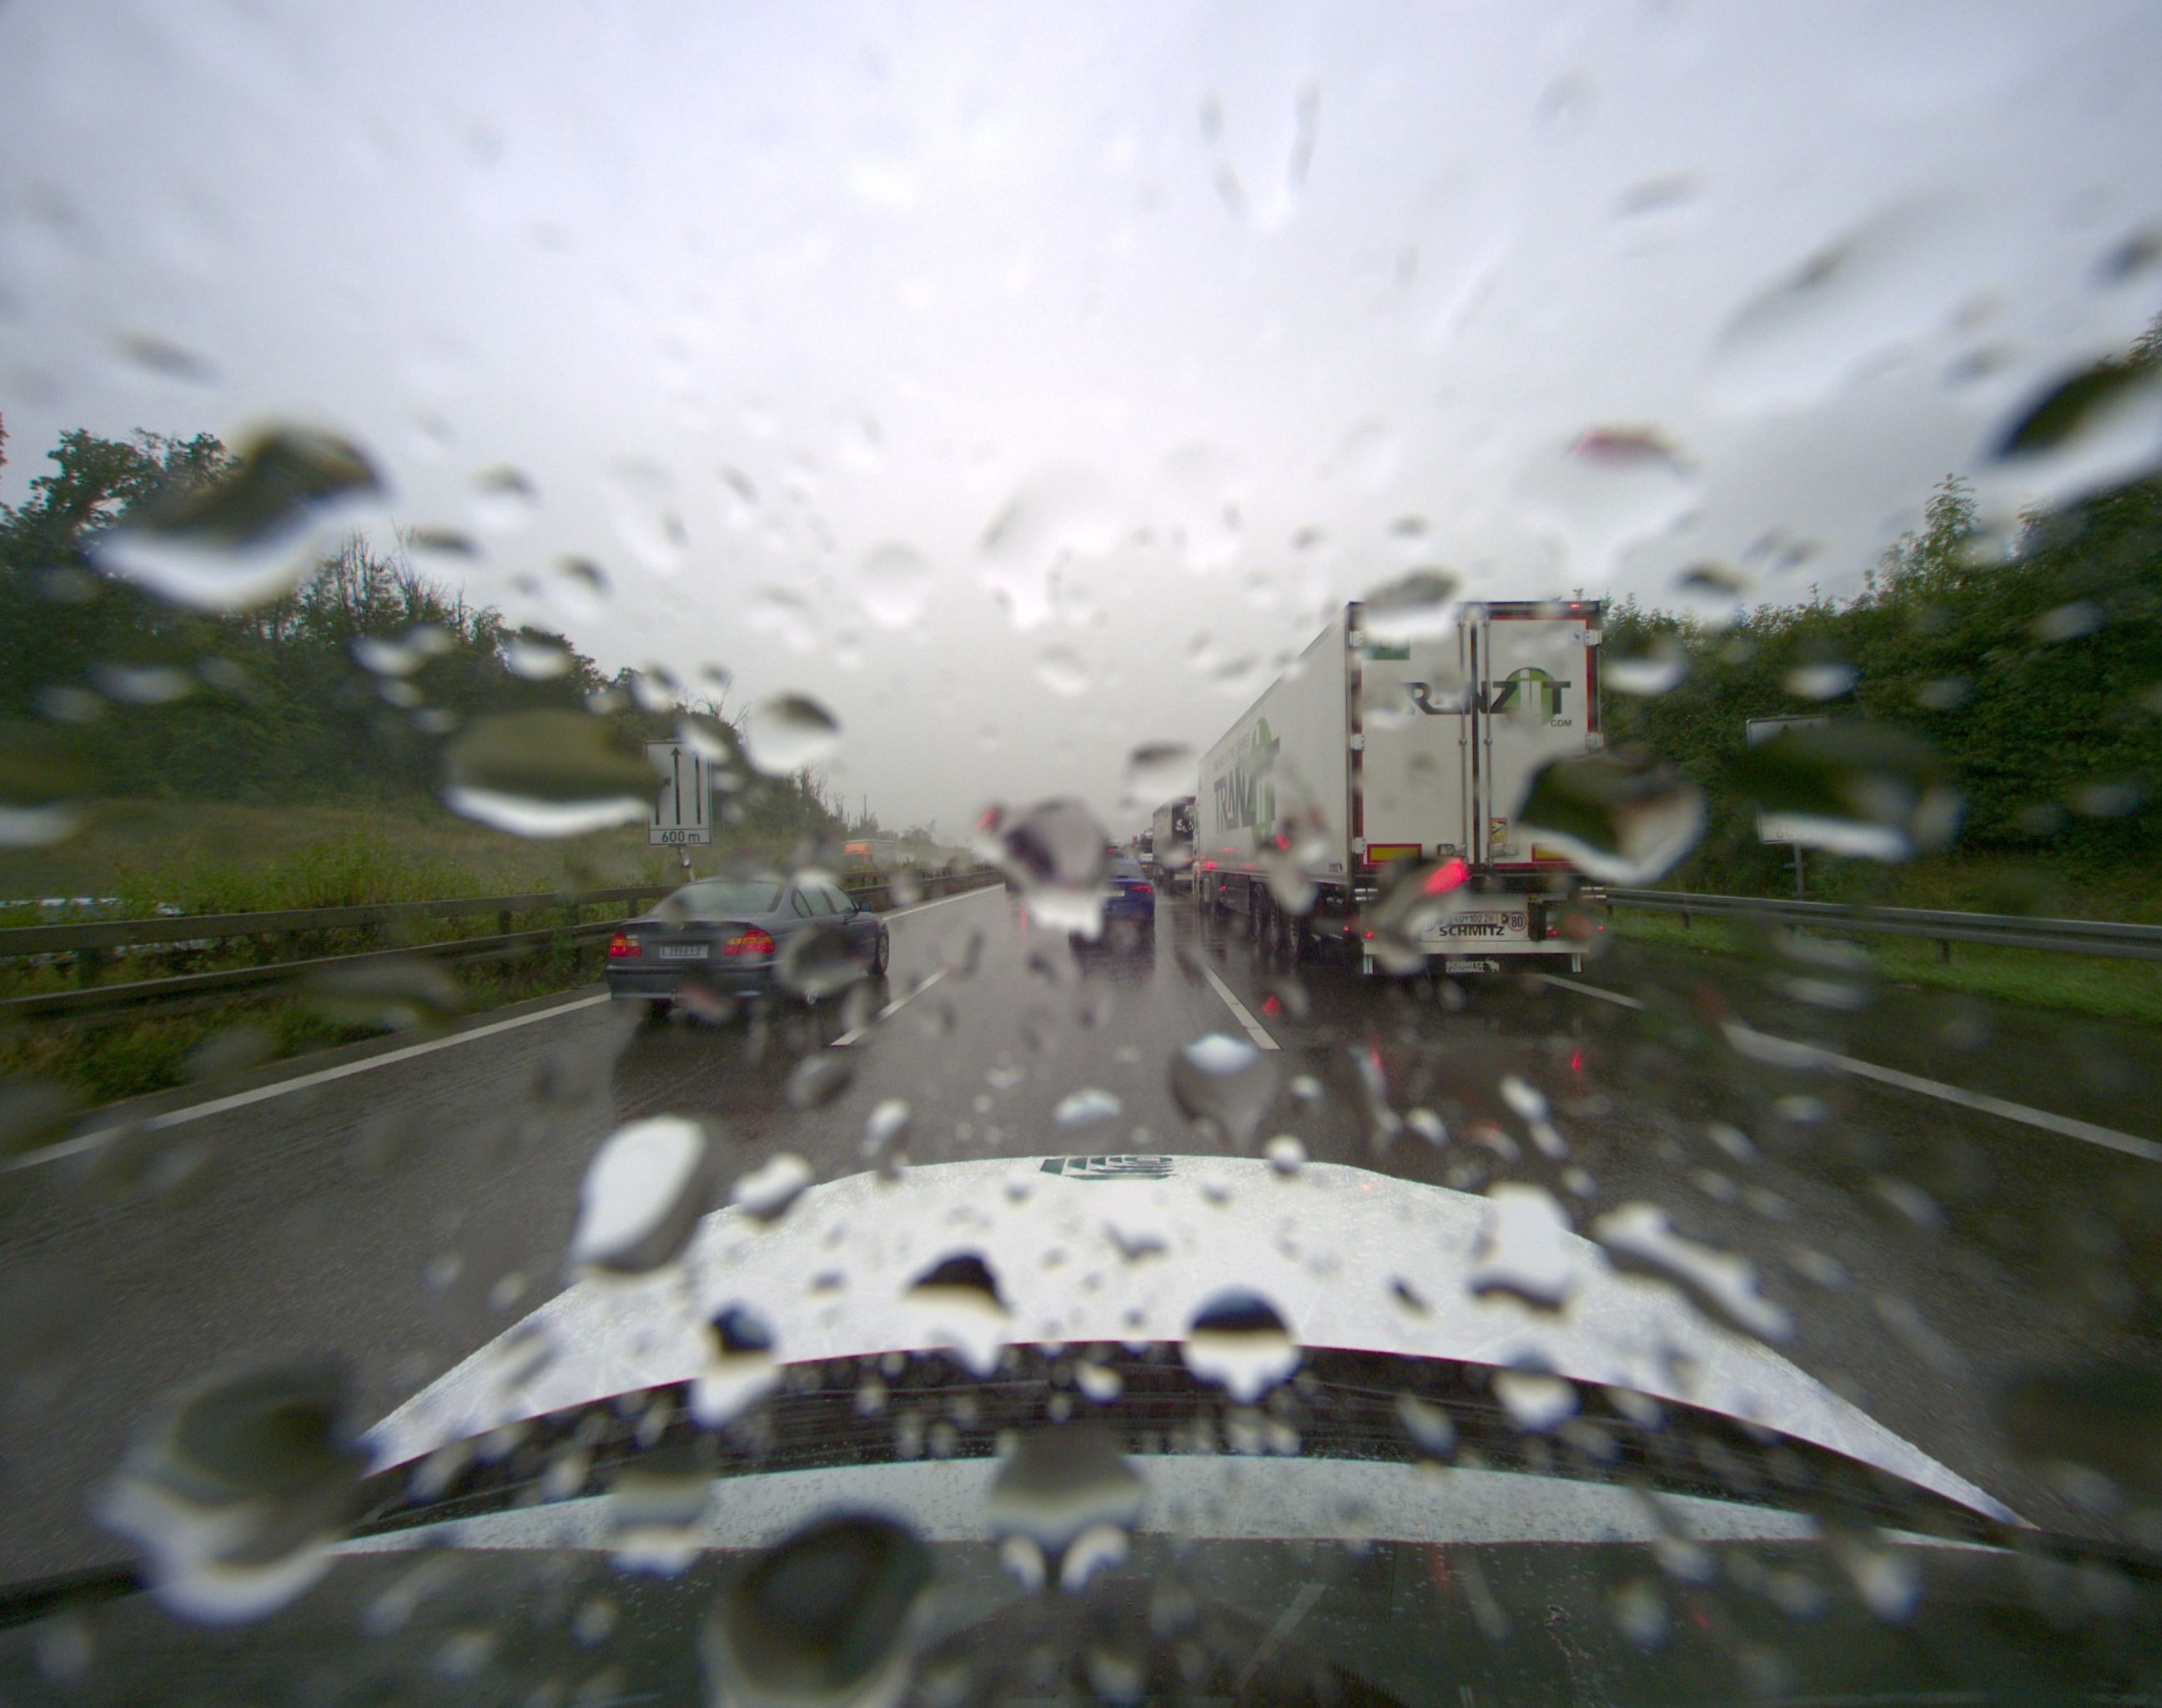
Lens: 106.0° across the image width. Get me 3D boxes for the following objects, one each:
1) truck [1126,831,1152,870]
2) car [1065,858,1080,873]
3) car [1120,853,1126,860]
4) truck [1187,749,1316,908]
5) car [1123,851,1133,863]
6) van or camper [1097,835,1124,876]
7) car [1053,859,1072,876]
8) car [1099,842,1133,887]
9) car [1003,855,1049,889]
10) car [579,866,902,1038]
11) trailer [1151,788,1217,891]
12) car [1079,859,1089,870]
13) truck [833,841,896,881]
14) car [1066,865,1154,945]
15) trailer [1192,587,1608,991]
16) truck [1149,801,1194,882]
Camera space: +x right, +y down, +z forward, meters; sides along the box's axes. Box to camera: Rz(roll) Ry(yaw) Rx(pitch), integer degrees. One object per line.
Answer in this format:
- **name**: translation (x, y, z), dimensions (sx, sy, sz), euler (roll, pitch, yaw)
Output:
- **truck**: translation (5.414, -0.326, 76.821), dimensions (1.986, 3.421, 8.033), euler (-1, 1, 1)
- **car**: translation (-0.946, 1.236, 88.684), dimensions (1.434, 1.533, 3.323), euler (-1, 0, 2)
- **car**: translation (11.353, 0.609, 220.023), dimensions (1.443, 1.784, 3.411), euler (-1, 0, 2)
- **truck**: translation (4.462, -0.628, 22.239), dimensions (2.620, 3.827, 4.793), euler (-1, 0, 2)
- **car**: translation (7.423, 0.519, 128.084), dimensions (1.443, 1.784, 3.411), euler (-1, 0, 2)
- **van or camper**: translation (2.098, 0.090, 58.060), dimensions (1.790, 2.806, 4.770), euler (-1, 0, 2)
- **car**: translation (-1.580, 1.176, 71.740), dimensions (1.434, 1.420, 3.323), euler (-1, 0, 2)
- **car**: translation (1.453, 0.409, 33.906), dimensions (1.331, 1.780, 3.323), euler (-1, 0, 2)
- **car**: translation (-2.646, 0.848, 40.064), dimensions (1.714, 1.523, 4.003), euler (-1, 0, 3)
- **car**: translation (-3.442, 0.887, 9.214), dimensions (1.711, 1.400, 4.232), euler (-1, 0, 2)
- **trailer**: translation (4.723, -0.611, 39.015), dimensions (2.039, 4.176, 11.454), euler (-1, 0, 2)
- **car**: translation (0.490, 1.637, 132.020), dimensions (1.443, 1.784, 3.411), euler (-1, 0, 2)
- **truck**: translation (-18.942, 0.513, 72.039), dimensions (2.915, 3.281, 9.256), euler (-1, 1, 1)
- **car**: translation (0.644, 0.996, 17.444), dimensions (1.629, 1.445, 4.003), euler (-1, 0, 3)
- **trailer**: translation (4.208, -0.686, 15.522), dimensions (2.620, 4.013, 14.637), euler (-1, 0, 2)
- **truck**: translation (4.904, -0.672, 44.616), dimensions (2.039, 4.193, 4.002), euler (-1, 0, 2)
